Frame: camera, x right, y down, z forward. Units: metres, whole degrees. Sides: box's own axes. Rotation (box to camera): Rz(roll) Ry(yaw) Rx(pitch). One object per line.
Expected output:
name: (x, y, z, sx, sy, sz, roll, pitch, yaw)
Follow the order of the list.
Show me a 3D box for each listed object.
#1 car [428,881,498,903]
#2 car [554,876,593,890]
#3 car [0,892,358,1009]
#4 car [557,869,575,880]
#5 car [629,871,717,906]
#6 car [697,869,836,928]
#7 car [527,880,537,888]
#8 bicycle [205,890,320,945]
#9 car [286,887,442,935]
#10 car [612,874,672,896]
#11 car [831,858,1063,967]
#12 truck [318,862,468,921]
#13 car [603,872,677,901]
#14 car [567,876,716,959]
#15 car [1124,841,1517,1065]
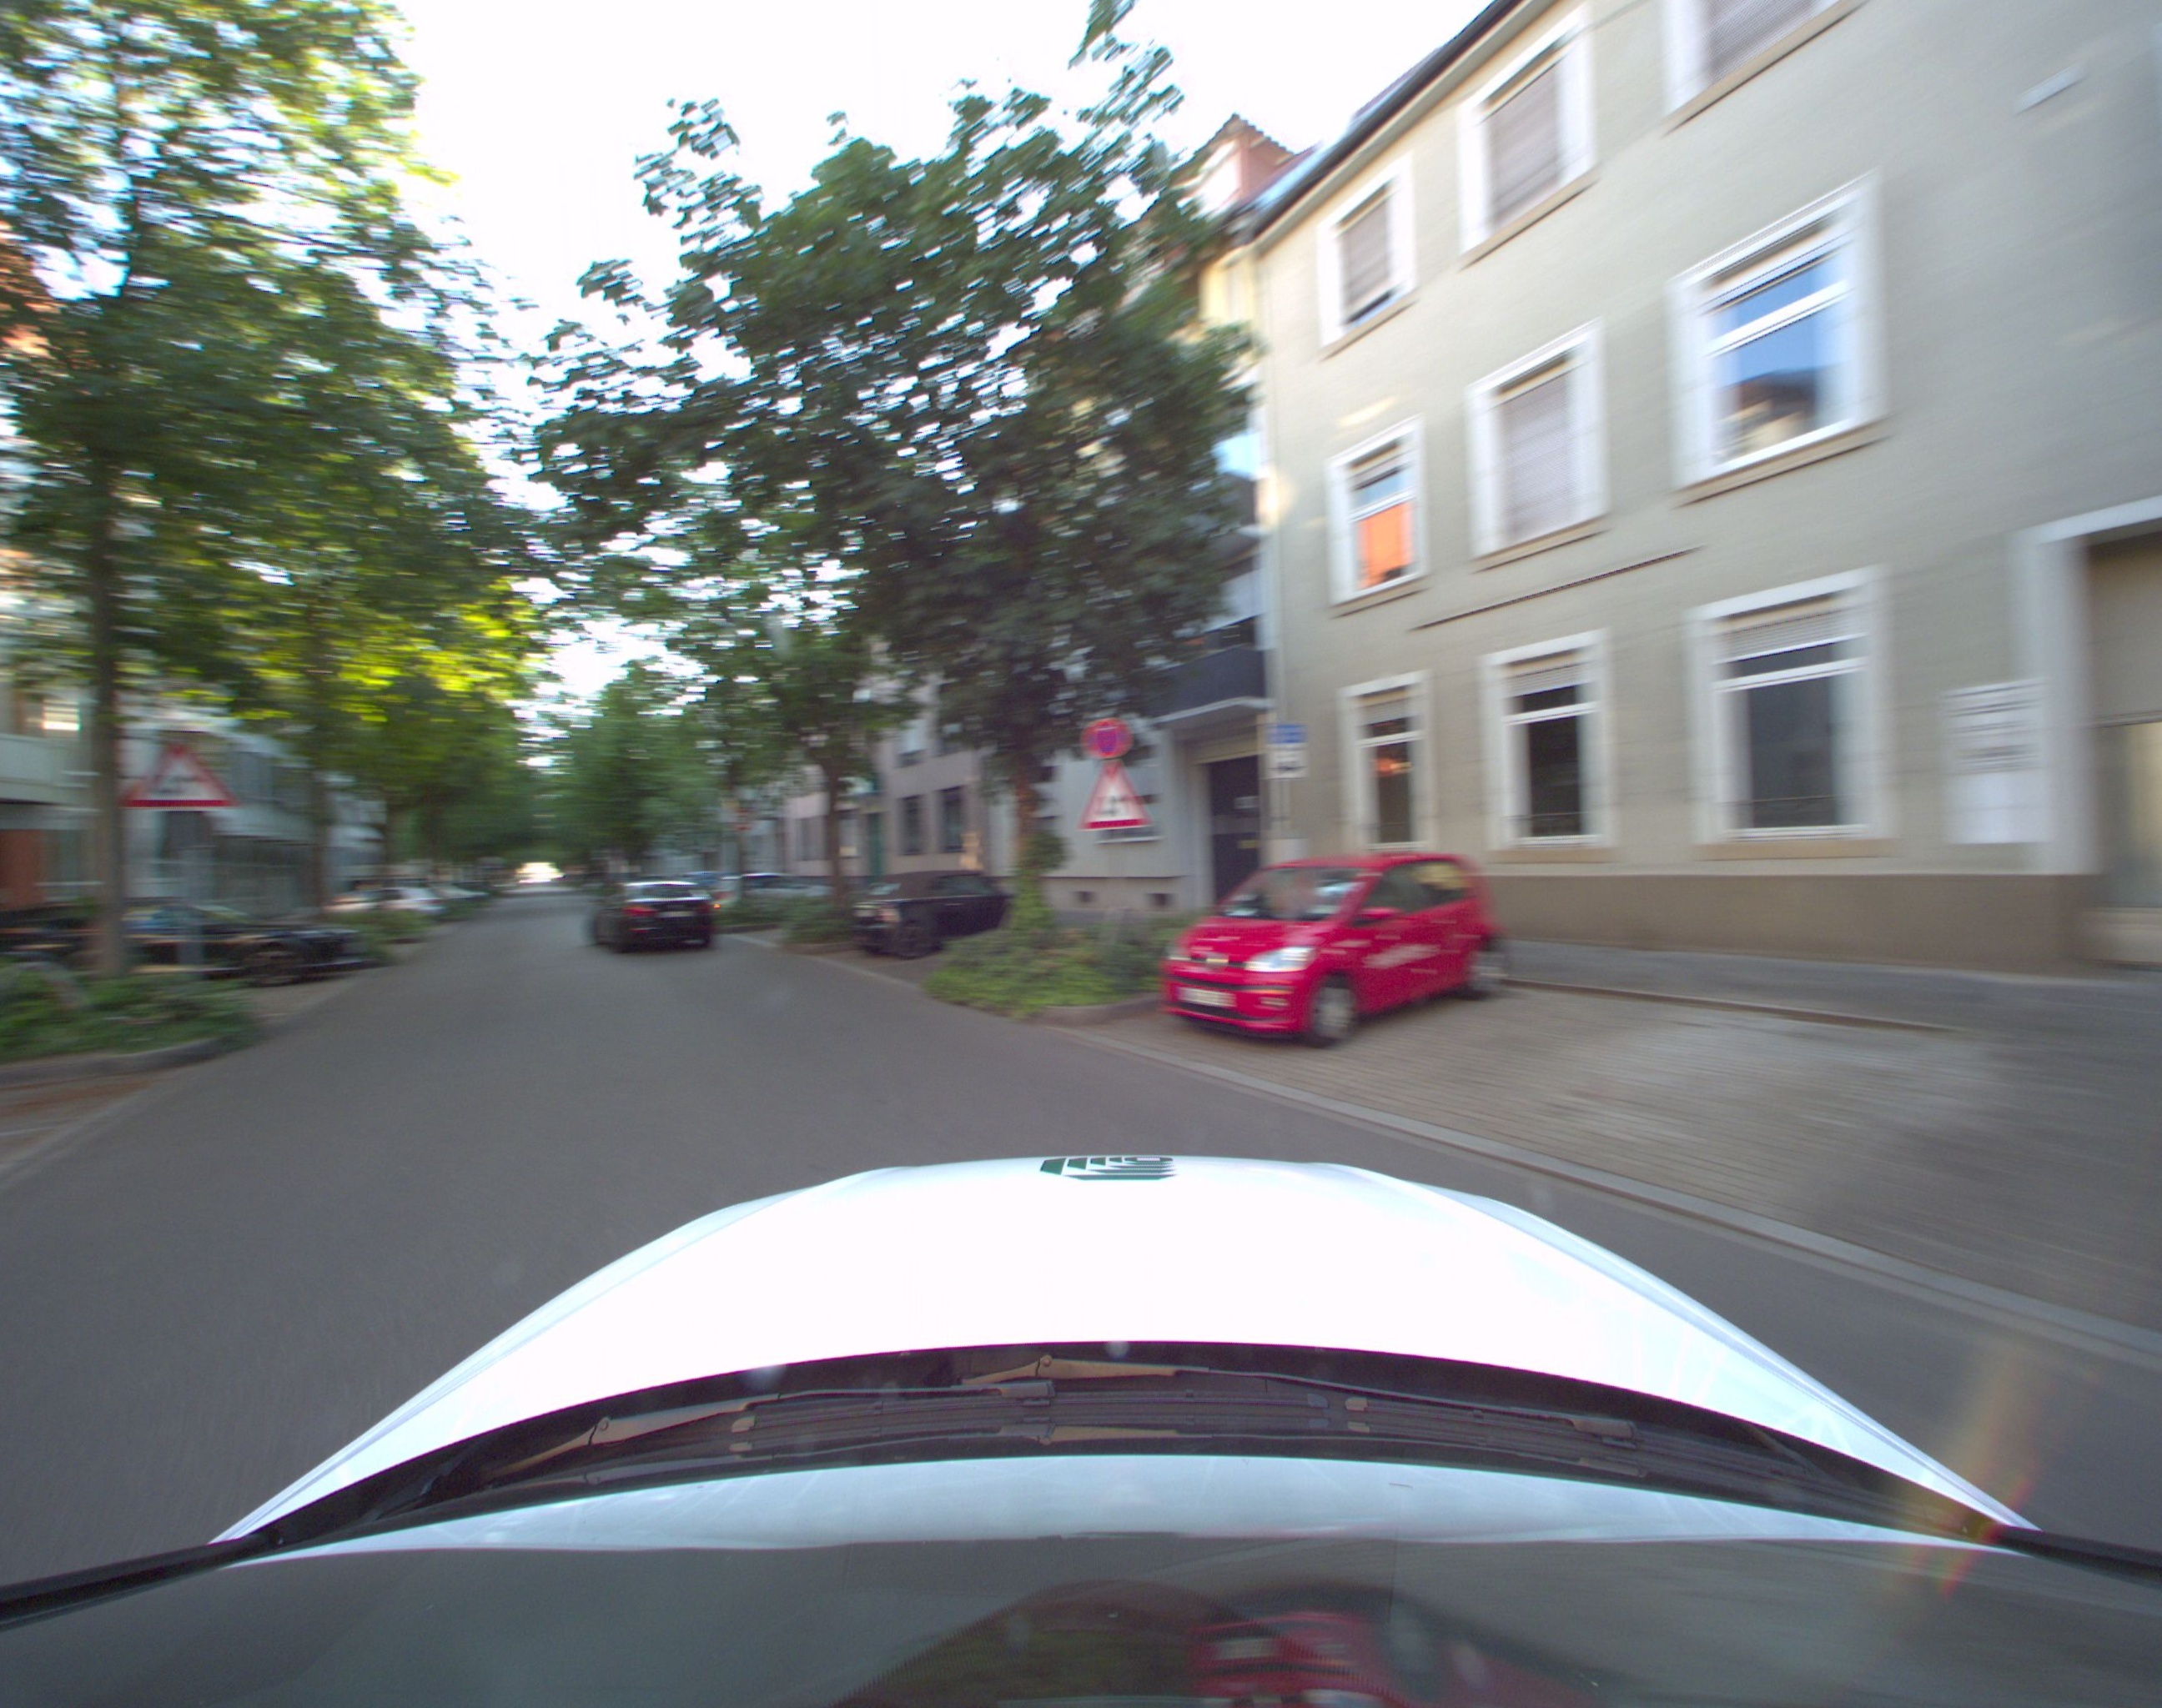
car: (-45.819, 2.815, 60.489, 4.051, 1.472, 1.622, -1, -1, -35)
car: (-58.660, 3.368, 94.092, 3.686, 1.393, 1.548, -2, 0, -37)
car: (-14.917, 1.482, 13.345, 4.389, 1.509, 1.815, -1, -1, -35)
car: (-75.503, 3.046, 119.380, 2.008, 1.552, 3.957, -2, 0, -35)
car: (-20.930, 1.731, 41.831, 3.822, 1.530, 1.548, -2, 0, -37)
car: (-9.659, 1.314, 25.137, 3.686, 1.479, 1.548, -3, 0, -37)
car: (-121.635, 6.636, 180.408, 1.909, 1.475, 3.957, -2, 0, -34)
bicycle: (-20.493, 1.570, 20.431, 0.495, 1.199, 1.988, -3, 0, 44)
car: (-26.492, 2.065, 30.292, 4.163, 1.472, 1.622, -1, -1, -35)
car: (-32.185, 2.269, 59.726, 3.686, 1.393, 1.548, -2, 0, -37)
car: (-2.320, 0.948, 14.624, 3.735, 1.427, 1.608, -5, 2, -40)
truck: (-31.227, 1.648, 37.205, 5.035, 2.441, 1.896, -1, 0, -34)
car: (-26.546, 1.930, 49.048, 3.686, 1.536, 1.548, -2, 0, -37)
car: (-9.537, 1.258, 17.484, 1.778, 1.450, 4.612, -2, 0, -42)
car: (2.336, 0.710, 7.552, 3.685, 1.475, 1.548, -3, 0, -37)
